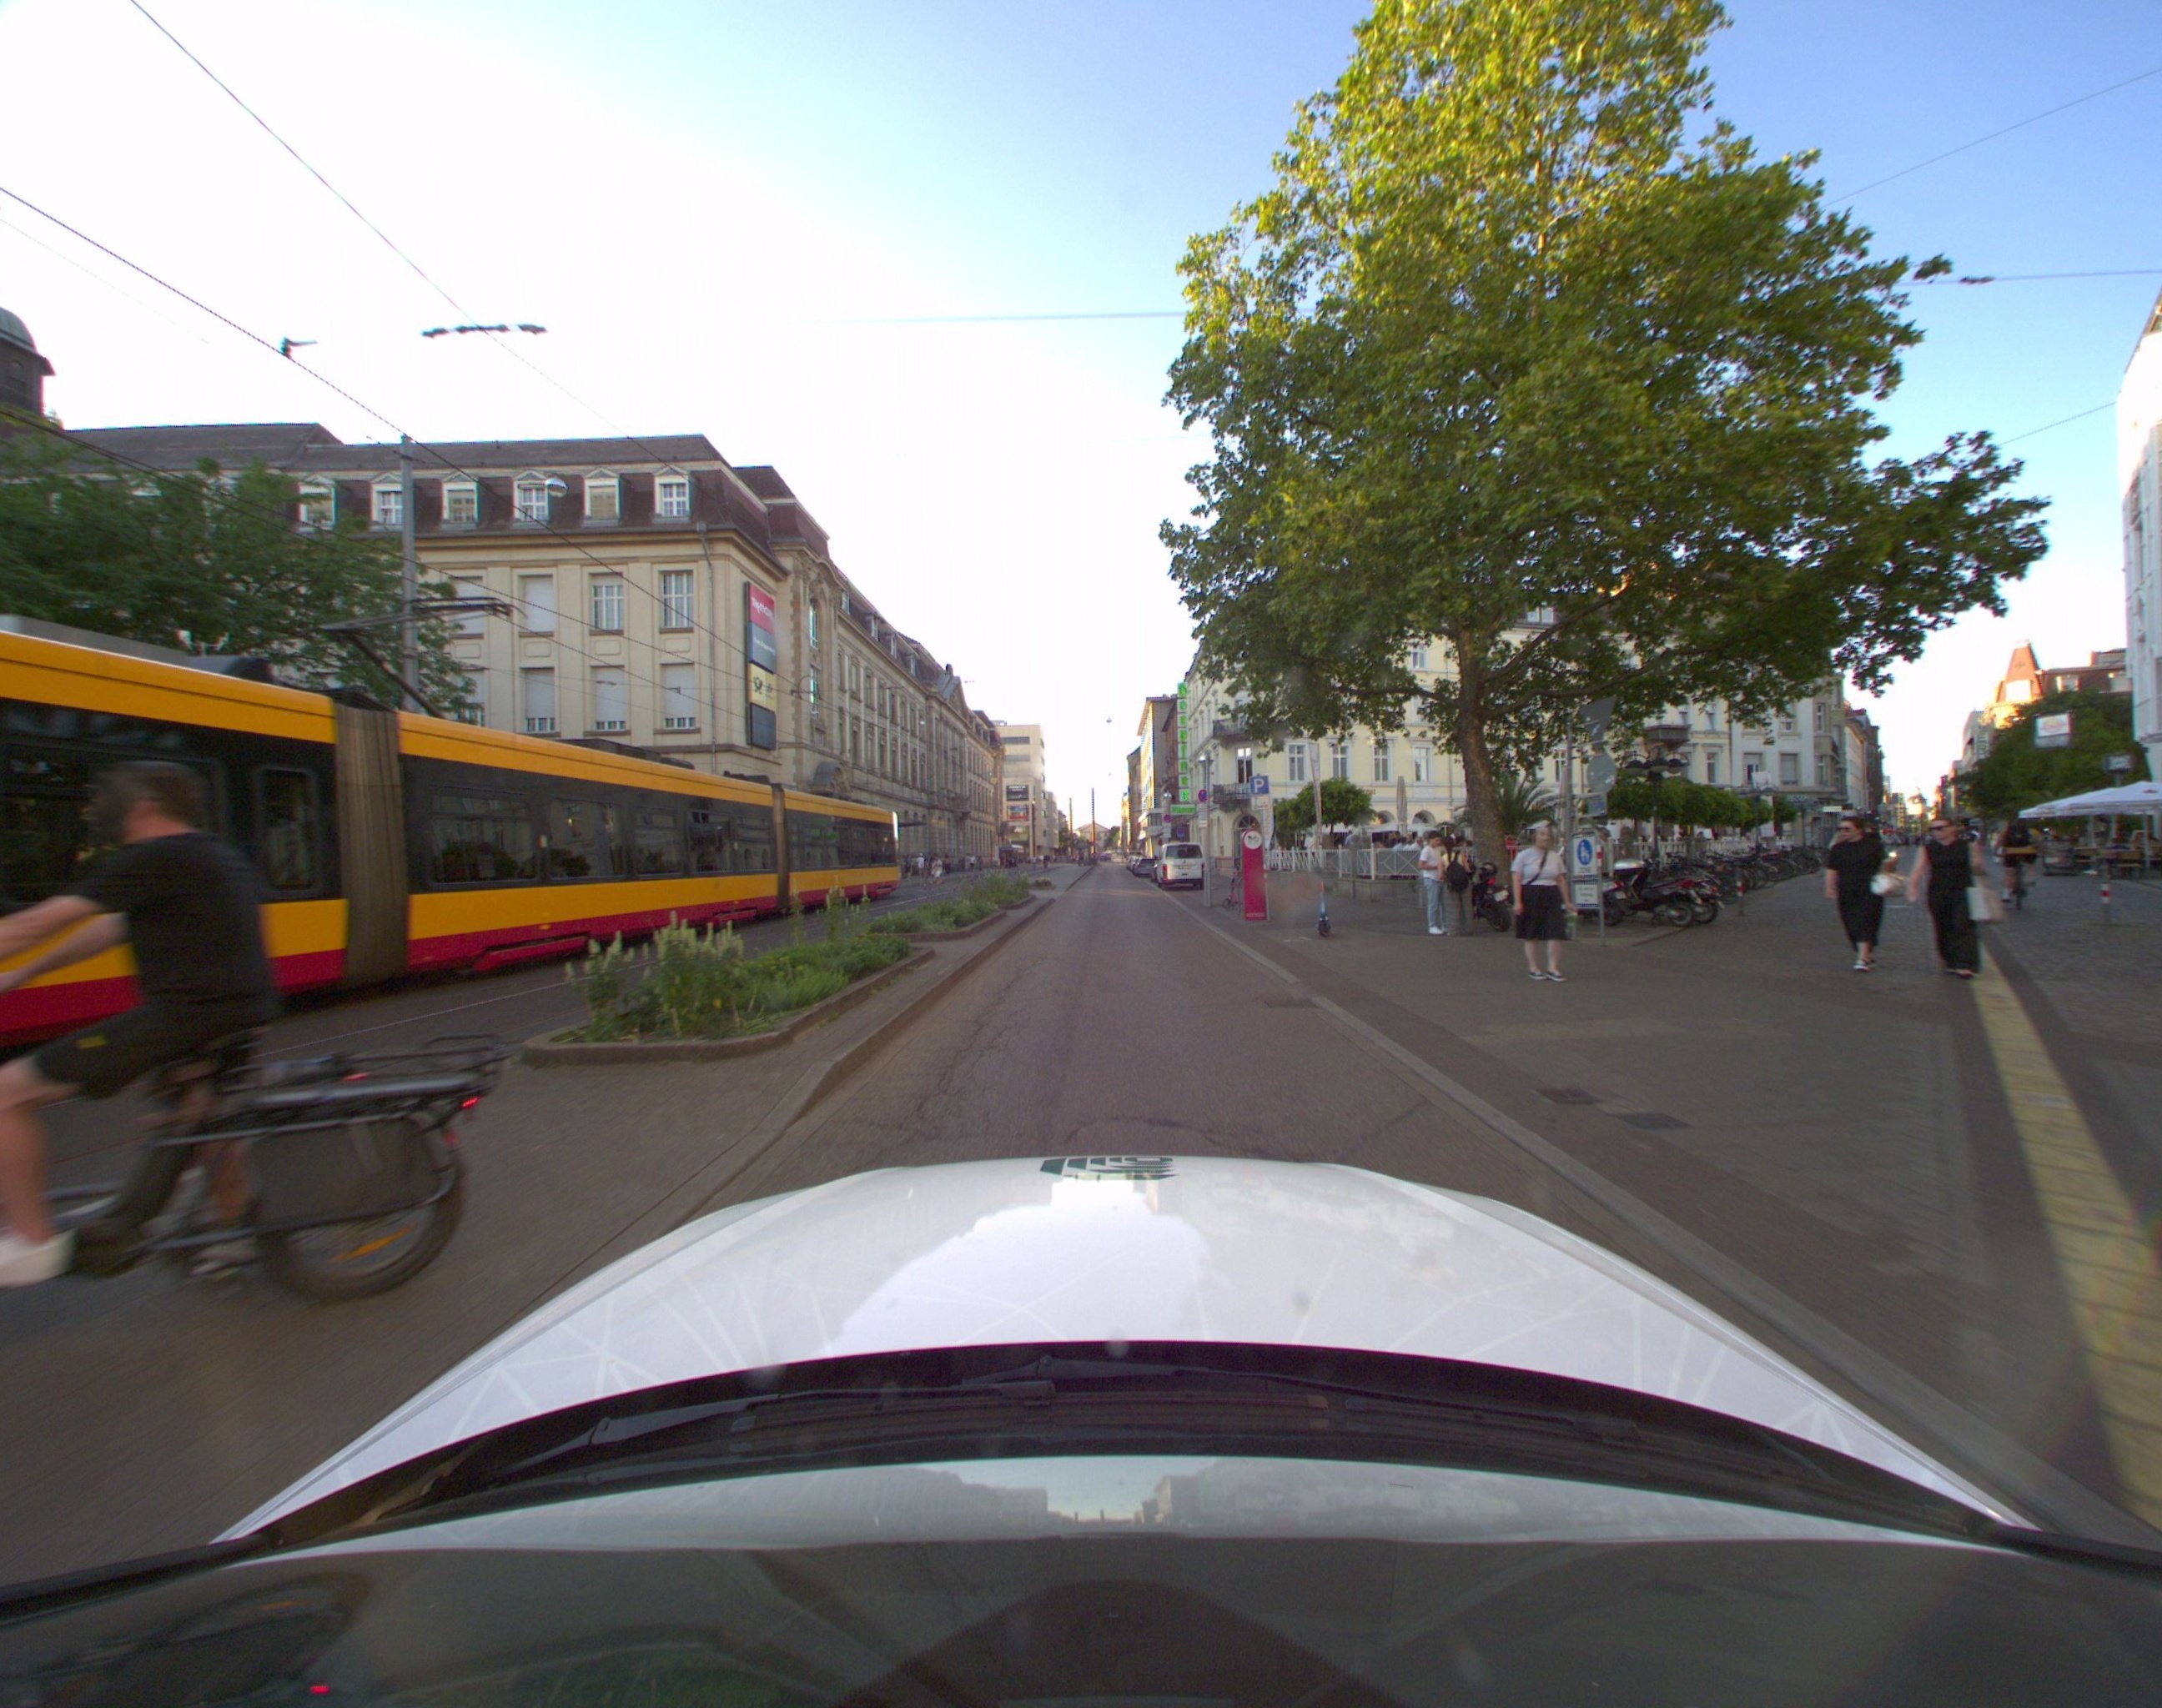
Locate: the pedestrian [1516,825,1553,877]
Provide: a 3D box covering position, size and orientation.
[{"bbox_3d":[11.496,-0.068,20.665,0.639,1.285,0.744,-2,-2,18],"label":"pedestrian"}]

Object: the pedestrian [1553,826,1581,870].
[{"bbox_3d":[14.582,-0.164,24.445,0.535,1.285,0.477,-2,-2,11],"label":"pedestrian"}]

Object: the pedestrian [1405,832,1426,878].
[{"bbox_3d":[9.931,0.028,24.205,0.470,1.330,0.542,-2,-2,16],"label":"pedestrian"}]

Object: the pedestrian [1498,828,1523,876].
[{"bbox_3d":[11.677,-0.039,22.156,0.470,1.285,0.542,-2,-2,18],"label":"pedestrian"}]

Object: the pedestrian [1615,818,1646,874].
[{"bbox_3d":[14.132,-0.199,20.936,0.470,1.400,0.542,-2,-2,18],"label":"pedestrian"}]

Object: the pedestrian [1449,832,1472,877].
[{"bbox_3d":[10.996,0.023,23.587,0.470,1.285,0.542,-2,-2,16],"label":"pedestrian"}]

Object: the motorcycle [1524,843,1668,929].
[{"bbox_3d":[9.234,0.527,14.725,0.567,1.423,2.278,-1,1,-24],"label":"motorcycle"}]

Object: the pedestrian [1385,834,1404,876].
[{"bbox_3d":[10.017,0.045,26.053,0.470,1.305,0.542,-2,-2,16],"label":"pedestrian"}]

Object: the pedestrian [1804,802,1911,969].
[{"bbox_3d":[8.603,0.338,9.023,0.827,1.741,0.651,0,-2,-37],"label":"pedestrian"}]

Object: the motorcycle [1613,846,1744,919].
[{"bbox_3d":[11.144,0.509,15.278,0.563,1.282,1.942,-1,0,-24],"label":"motorcycle"}]

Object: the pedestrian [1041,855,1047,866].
[{"bbox_3d":[-6.445,1.150,143.283,0.907,1.928,0.847,-1,0,-15],"label":"pedestrian"}]

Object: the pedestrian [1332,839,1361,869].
[{"bbox_3d":[11.895,0.014,36.498,0.960,1.267,0.905,-2,-2,1],"label":"pedestrian"}]

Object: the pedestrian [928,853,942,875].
[{"bbox_3d":[-11.448,0.766,63.837,1.048,1.686,0.905,-1,-2,-8],"label":"pedestrian"}]

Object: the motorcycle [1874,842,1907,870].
[{"bbox_3d":[30.000,0.085,30.198,0.345,1.033,1.593,-3,-2,27],"label":"motorcycle"}]

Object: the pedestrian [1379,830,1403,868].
[{"bbox_3d":[13.594,-0.220,35.739,0.754,1.643,0.659,-2,-2,2],"label":"pedestrian"}]

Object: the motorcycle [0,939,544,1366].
[{"bbox_3d":[-3.062,0.922,2.710,2.054,1.123,0.563,-1,-2,-25],"label":"motorcycle"}]

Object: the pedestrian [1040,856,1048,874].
[{"bbox_3d":[-3.502,1.038,76.549,0.688,1.636,0.580,-1,0,-6],"label":"pedestrian"}]

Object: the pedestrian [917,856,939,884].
[{"bbox_3d":[-8.501,0.886,45.278,0.750,1.514,0.868,-4,-3,45],"label":"pedestrian"}]

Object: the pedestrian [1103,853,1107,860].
[{"bbox_3d":[6.400,0.623,216.093,0.773,1.734,0.818,-3,-3,42],"label":"pedestrian"}]

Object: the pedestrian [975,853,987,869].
[{"bbox_3d":[-10.684,0.784,86.850,1.051,1.686,0.903,-1,0,-17],"label":"pedestrian"}]

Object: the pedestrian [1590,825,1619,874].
[{"bbox_3d":[14.067,-0.124,21.901,0.470,1.285,0.542,-2,-2,18],"label":"pedestrian"}]

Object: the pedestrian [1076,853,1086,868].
[{"bbox_3d":[0.018,0.793,99.101,1.041,1.686,0.911,-2,-2,13],"label":"pedestrian"}]

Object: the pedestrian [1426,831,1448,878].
[{"bbox_3d":[10.033,0.016,22.967,0.470,1.285,0.542,-2,-2,16],"label":"pedestrian"}]

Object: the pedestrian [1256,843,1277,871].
[{"bbox_3d":[8.998,0.173,39.497,0.820,1.306,0.870,-2,-2,1],"label":"pedestrian"}]

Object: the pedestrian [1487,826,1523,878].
[{"bbox_3d":[10.883,-0.038,20.922,0.639,1.285,0.744,-2,-2,18],"label":"pedestrian"}]

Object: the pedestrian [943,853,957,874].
[{"bbox_3d":[-10.421,0.754,64.904,1.048,1.686,0.905,-1,-2,-8],"label":"pedestrian"}]

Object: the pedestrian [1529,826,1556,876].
[{"bbox_3d":[12.294,-0.076,21.704,0.470,1.285,0.542,-2,-2,18],"label":"pedestrian"}]

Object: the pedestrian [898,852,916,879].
[{"bbox_3d":[-11.165,0.752,52.331,0.869,1.710,1.132,-2,-2,2],"label":"pedestrian"}]

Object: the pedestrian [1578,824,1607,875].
[{"bbox_3d":[13.371,-0.109,21.293,0.470,1.285,0.542,-2,-2,18],"label":"pedestrian"}]

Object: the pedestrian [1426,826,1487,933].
[{"bbox_3d":[6.224,0.425,13.534,0.675,1.717,0.655,-2,-2,4],"label":"pedestrian"}]

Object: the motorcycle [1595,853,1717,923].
[{"bbox_3d":[10.402,0.578,14.813,0.553,1.150,1.783,-1,1,-24],"label":"motorcycle"}]

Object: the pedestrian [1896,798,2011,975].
[{"bbox_3d":[9.037,0.327,8.436,0.827,1.724,0.651,0,-2,-37],"label":"pedestrian"}]

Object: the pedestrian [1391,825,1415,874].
[{"bbox_3d":[10.717,-0.145,27.107,0.614,1.571,0.633,-2,-2,16],"label":"pedestrian"}]

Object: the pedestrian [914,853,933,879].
[{"bbox_3d":[-10.365,0.788,53.686,0.873,1.653,0.879,-2,-2,15],"label":"pedestrian"}]

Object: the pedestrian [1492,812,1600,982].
[{"bbox_3d":[5.221,0.465,9.197,0.711,1.803,0.825,-2,-1,4],"label":"pedestrian"}]

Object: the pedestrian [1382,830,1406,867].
[{"bbox_3d":[14.200,-0.255,36.924,0.755,1.643,0.659,-2,-2,-1],"label":"pedestrian"}]

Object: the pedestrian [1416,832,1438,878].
[{"bbox_3d":[10.017,0.034,23.592,0.470,1.285,0.542,-2,-2,16],"label":"pedestrian"}]

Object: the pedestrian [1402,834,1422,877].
[{"bbox_3d":[10.070,0.049,24.783,0.470,1.285,0.542,-2,-2,16],"label":"pedestrian"}]

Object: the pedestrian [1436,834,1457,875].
[{"bbox_3d":[11.355,0.035,25.302,0.470,1.242,0.542,-2,-2,16],"label":"pedestrian"}]

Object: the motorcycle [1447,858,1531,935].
[{"bbox_3d":[6.916,0.681,13.915,0.453,1.157,2.032,-2,1,2],"label":"motorcycle"}]

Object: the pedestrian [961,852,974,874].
[{"bbox_3d":[-9.205,0.729,66.023,1.048,1.686,0.905,-1,-2,-8],"label":"pedestrian"}]

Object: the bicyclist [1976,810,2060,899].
[{"bbox_3d":[18.235,0.029,15.880,1.005,1.652,0.980,2,-3,-44],"label":"bicyclist"}]

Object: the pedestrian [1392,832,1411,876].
[{"bbox_3d":[9.999,0.005,25.432,0.470,1.364,0.542,-2,-2,16],"label":"pedestrian"}]

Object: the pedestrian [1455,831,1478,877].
[{"bbox_3d":[10.862,0.009,22.955,0.470,1.285,0.542,-2,-2,18],"label":"pedestrian"}]

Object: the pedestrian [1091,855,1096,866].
[{"bbox_3d":[1.818,0.897,115.575,0.611,1.523,0.619,-1,-2,-7],"label":"pedestrian"}]

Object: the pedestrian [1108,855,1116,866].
[{"bbox_3d":[5.700,1.158,150.195,1.231,1.928,1.017,-1,0,-14],"label":"pedestrian"}]

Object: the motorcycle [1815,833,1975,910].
[{"bbox_3d":[14.404,0.297,14.476,0.565,1.282,1.936,-1,0,-35],"label":"motorcycle"}]

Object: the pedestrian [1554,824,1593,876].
[{"bbox_3d":[12.526,-0.098,20.741,0.639,1.285,0.744,-2,-2,18],"label":"pedestrian"}]

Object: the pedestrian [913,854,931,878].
[{"bbox_3d":[-11.323,0.851,57.921,0.864,1.720,0.887,-3,-2,25],"label":"pedestrian"}]

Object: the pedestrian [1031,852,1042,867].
[{"bbox_3d":[-4.909,0.578,89.612,1.045,1.686,0.908,-1,0,1],"label":"pedestrian"}]

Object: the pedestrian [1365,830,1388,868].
[{"bbox_3d":[13.359,-0.226,36.807,0.754,1.643,0.659,-2,-2,2],"label":"pedestrian"}]

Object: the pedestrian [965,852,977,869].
[{"bbox_3d":[-11.432,0.697,84.844,1.051,1.686,0.903,-1,0,-17],"label":"pedestrian"}]

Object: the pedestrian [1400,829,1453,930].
[{"bbox_3d":[6.024,0.445,14.226,0.611,1.717,0.662,-2,-2,4],"label":"pedestrian"}]

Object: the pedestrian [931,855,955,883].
[{"bbox_3d":[-7.596,0.829,44.760,0.710,1.514,1.043,-4,-3,45],"label":"pedestrian"}]
